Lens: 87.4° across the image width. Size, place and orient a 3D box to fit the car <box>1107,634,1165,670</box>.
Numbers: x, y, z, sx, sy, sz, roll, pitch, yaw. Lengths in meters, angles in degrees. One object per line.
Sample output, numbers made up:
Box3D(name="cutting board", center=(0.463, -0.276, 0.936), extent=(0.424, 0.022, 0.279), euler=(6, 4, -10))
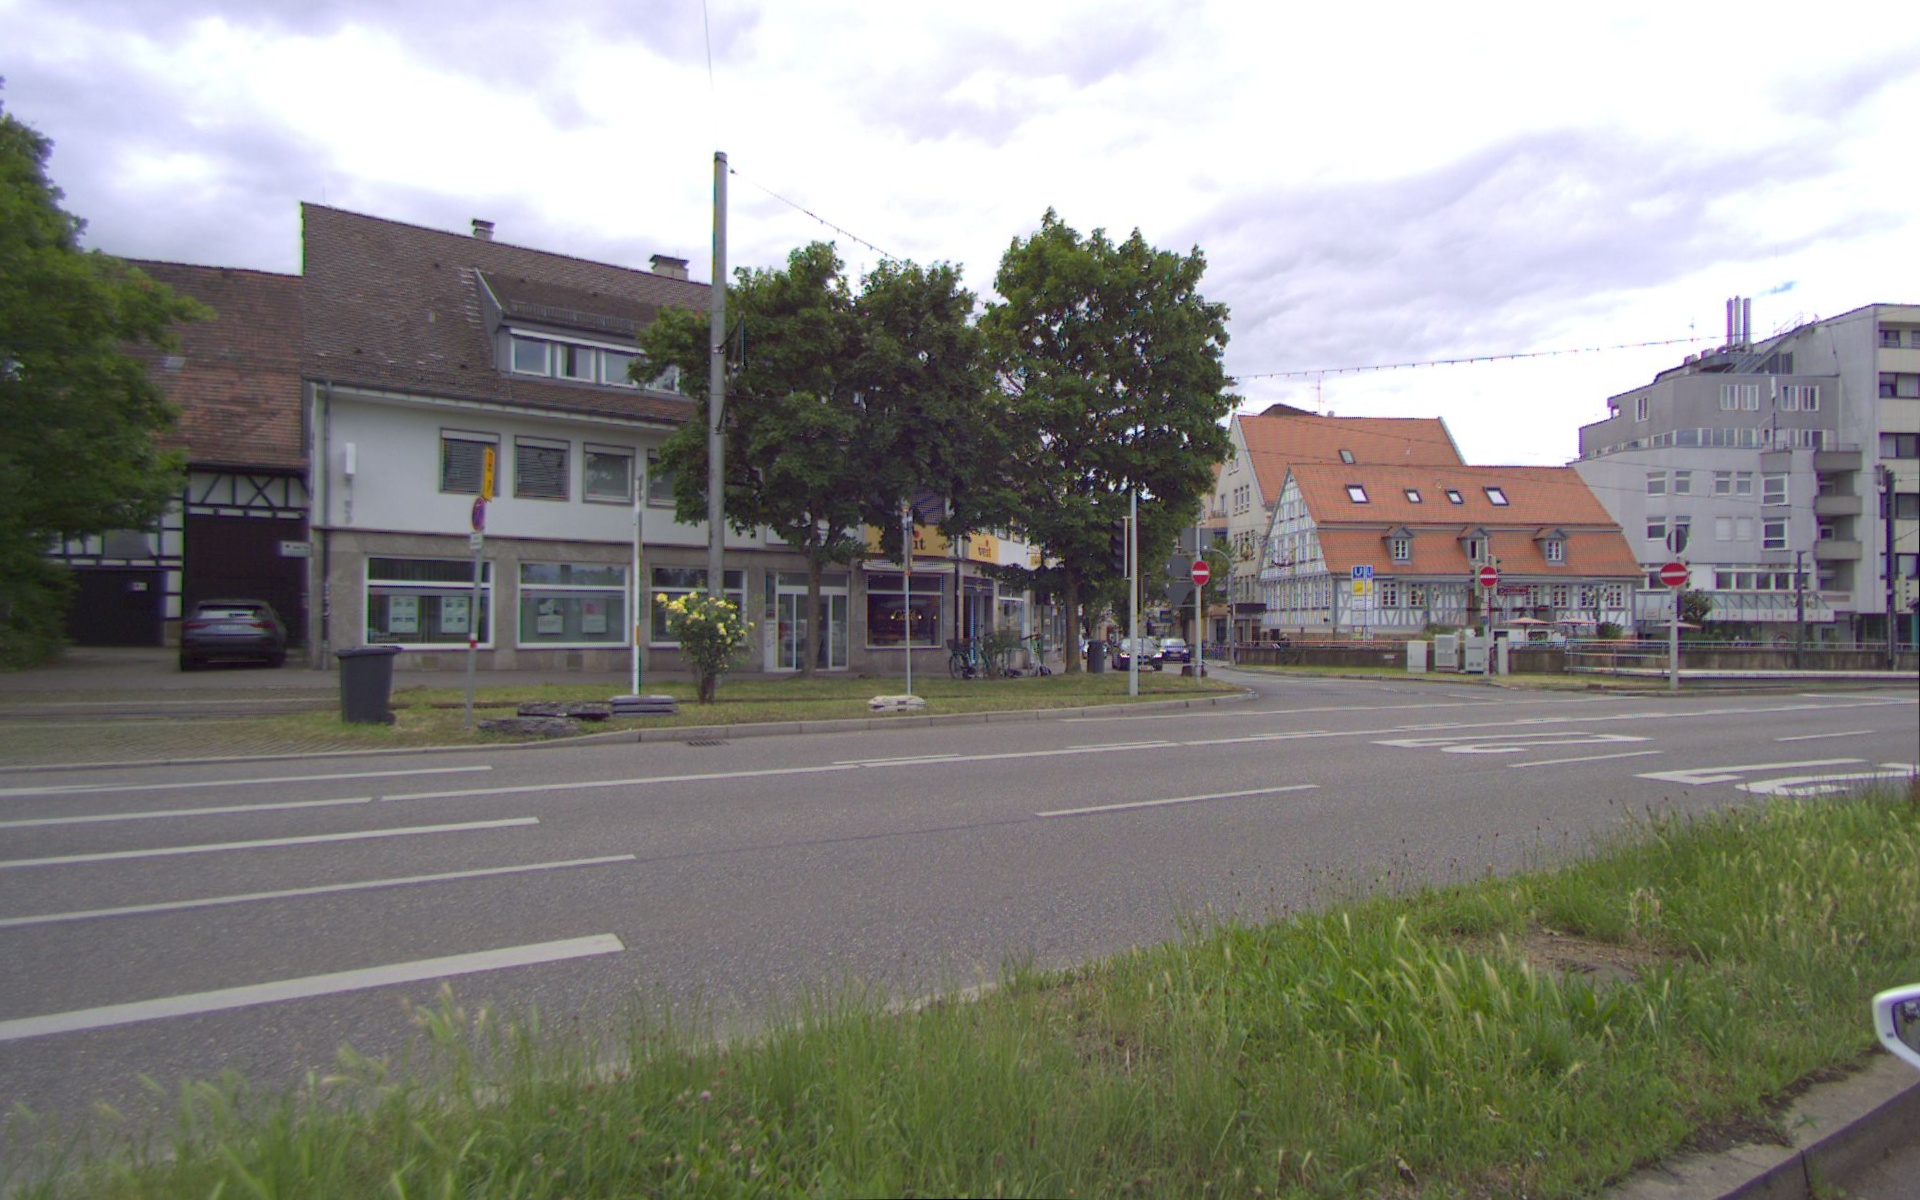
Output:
Box3D(name="car", center=(7.405, 2.165, 42.706), extent=(1.790, 1.399, 4.685), euler=(1, -2, 2))

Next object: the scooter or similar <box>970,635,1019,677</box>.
Box3D(name="scooter or similar", center=(0.928, 1.488, 26.831), extent=(1.158, 1.100, 0.650), euler=(1, -1, -19))

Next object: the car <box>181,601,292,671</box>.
Box3D(name="car", center=(-16.745, 0.772, 23.426), extent=(1.839, 1.445, 3.967), euler=(0, 1, -32))

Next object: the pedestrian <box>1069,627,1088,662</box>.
Box3D(name="pedestrian", center=(5.971, 2.230, 50.559), extent=(0.858, 1.692, 0.859), euler=(0, -1, 11))

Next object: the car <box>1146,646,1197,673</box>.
Box3D(name="car", center=(11.466, 3.216, 54.670), extent=(1.947, 1.312, 3.912), euler=(1, -2, 0))

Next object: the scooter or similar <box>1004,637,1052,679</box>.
Box3D(name="scooter or similar", center=(1.764, 1.508, 26.029), extent=(1.157, 1.059, 0.490), euler=(1, -1, -15))

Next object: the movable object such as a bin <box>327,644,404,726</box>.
Box3D(name="movable object such as a bin", center=(-7.827, 1.104, 13.245), extent=(0.828, 1.026, 0.561), euler=(1, -1, -28))

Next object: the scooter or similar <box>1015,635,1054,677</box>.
Box3D(name="scooter or similar", center=(2.042, 1.525, 27.431), extent=(0.978, 1.100, 0.422), euler=(1, -1, -24))

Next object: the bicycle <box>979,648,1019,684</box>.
Box3D(name="bicycle", center=(0.940, 1.600, 24.467), extent=(0.419, 0.815, 1.255), euler=(1, -1, -25))

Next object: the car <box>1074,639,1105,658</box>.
Box3D(name="car", center=(9.728, 3.637, 75.628), extent=(1.947, 1.312, 3.912), euler=(1, -1, 1))
